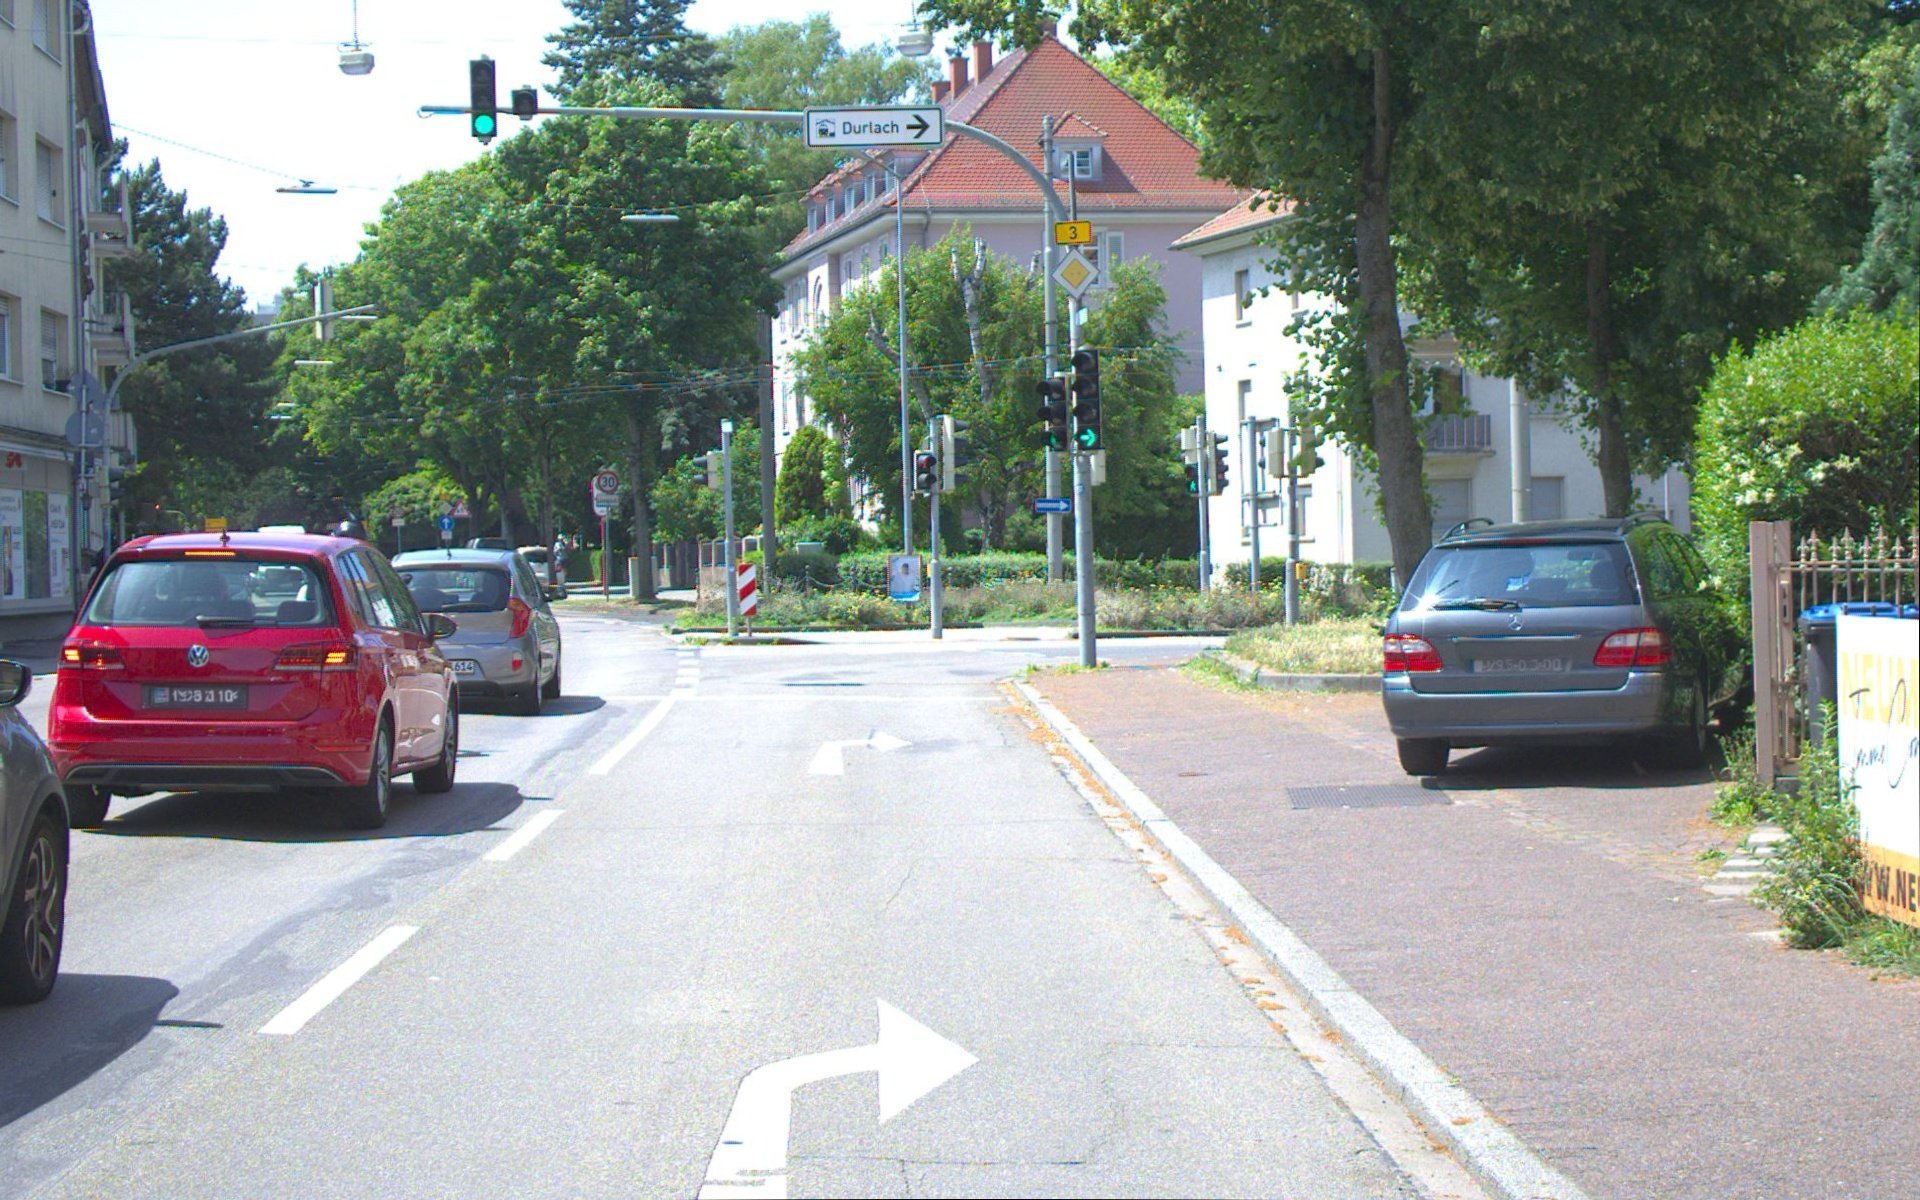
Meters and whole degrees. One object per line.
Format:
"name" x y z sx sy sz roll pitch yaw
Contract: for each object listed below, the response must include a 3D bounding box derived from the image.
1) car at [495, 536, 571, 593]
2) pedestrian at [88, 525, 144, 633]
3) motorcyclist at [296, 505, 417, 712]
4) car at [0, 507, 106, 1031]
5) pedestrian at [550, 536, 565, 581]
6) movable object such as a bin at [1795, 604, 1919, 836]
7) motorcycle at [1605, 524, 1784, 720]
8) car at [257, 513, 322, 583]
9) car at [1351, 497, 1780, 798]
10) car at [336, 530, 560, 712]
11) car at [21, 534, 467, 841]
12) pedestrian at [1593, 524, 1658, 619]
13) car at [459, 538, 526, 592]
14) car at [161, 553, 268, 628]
"car" -13.973 -1.171 112.306 1.993 1.801 4.001 -1 1 -14
"pedestrian" -15.308 -0.383 62.349 0.935 1.925 0.977 -1 1 -13
"motorcyclist" -4.315 0.049 24.638 0.711 1.440 1.019 -1 1 -3
"car" -3.857 0.543 10.041 1.754 1.626 4.000 0 1 -1
"pedestrian" -14.777 -1.512 126.090 0.508 1.650 0.466 -1 1 -8
"movable object such as a bin" 4.358 0.565 16.429 0.649 1.068 0.637 -1 1 9
"motorcycle" 5.409 0.137 25.206 0.931 1.298 2.279 -2 2 20
"car" -26.067 -2.010 133.646 2.215 2.492 7.556 -5 1 -11
"car" 3.936 0.206 21.575 1.836 1.543 5.152 -2 2 19
"car" -4.702 0.154 32.040 1.798 1.552 4.038 -1 1 -5
"car" -3.941 0.418 19.569 1.799 1.552 4.038 0 1 -2
"pedestrian" 12.011 -0.513 62.052 0.835 1.699 0.762 -1 1 -29
"car" -17.077 -1.287 125.429 1.993 1.900 4.001 -1 1 -14
"car" -15.595 -0.195 71.755 1.993 1.514 4.001 0 0 -15
